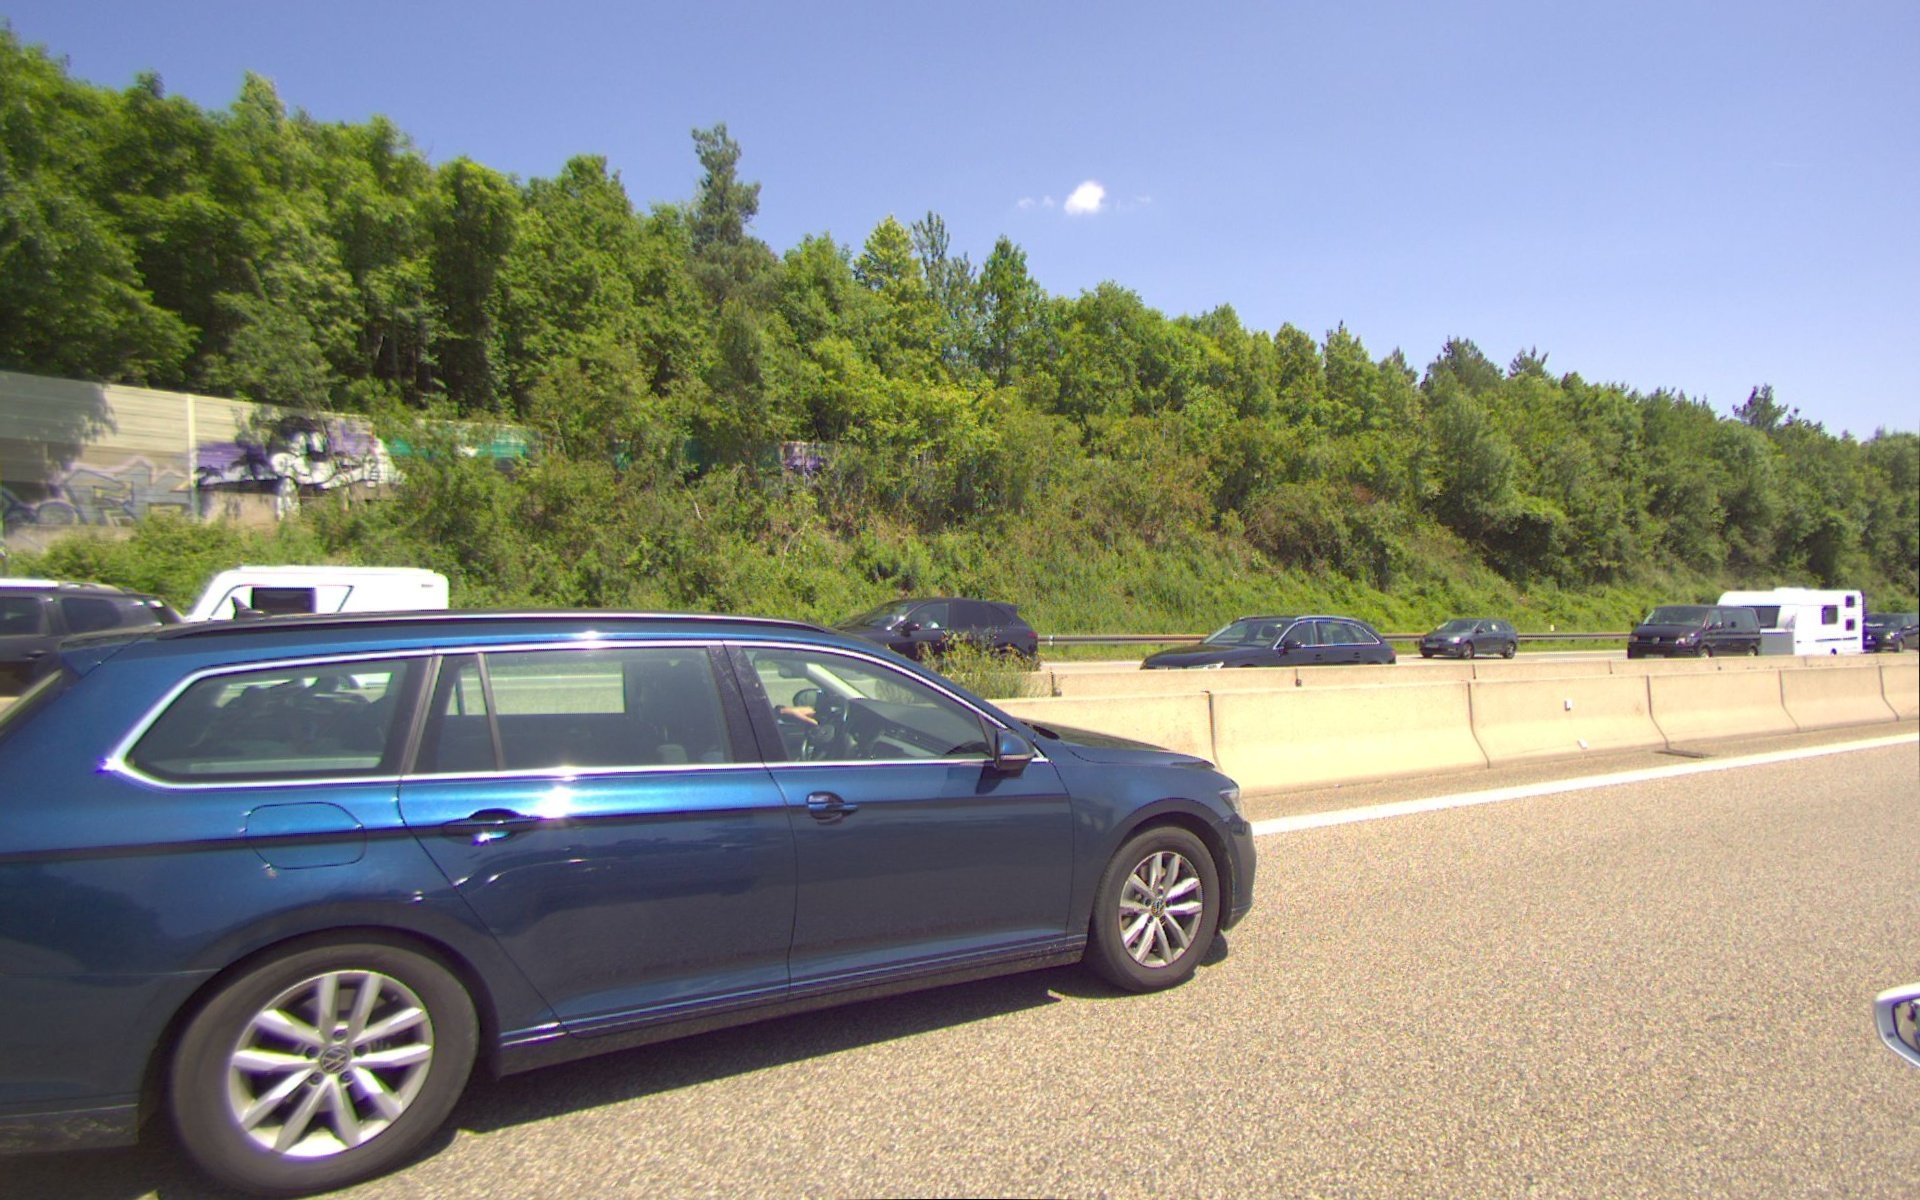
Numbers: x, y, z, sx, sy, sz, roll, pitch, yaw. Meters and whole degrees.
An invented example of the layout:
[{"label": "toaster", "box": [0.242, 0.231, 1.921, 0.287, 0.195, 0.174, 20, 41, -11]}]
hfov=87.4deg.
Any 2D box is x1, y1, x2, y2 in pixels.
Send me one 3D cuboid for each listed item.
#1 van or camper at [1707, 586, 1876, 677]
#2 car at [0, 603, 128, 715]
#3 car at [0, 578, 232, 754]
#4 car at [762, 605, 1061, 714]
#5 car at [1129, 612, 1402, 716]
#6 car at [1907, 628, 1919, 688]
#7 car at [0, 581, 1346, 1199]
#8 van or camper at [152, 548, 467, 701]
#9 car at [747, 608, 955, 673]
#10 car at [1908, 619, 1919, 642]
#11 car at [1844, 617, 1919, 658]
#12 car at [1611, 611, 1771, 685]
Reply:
[{"label": "van or camper", "box": [27.987, 1.032, 33.723, 6.757, 2.798, 2.220, 1, 0, -31]}, {"label": "car", "box": [-13.472, 0.704, 12.383, 4.668, 1.365, 1.792, 1, 0, -31]}, {"label": "car", "box": [-10.082, 0.626, 10.216, 4.147, 1.705, 1.684, 1, 0, -31]}, {"label": "car", "box": [-0.783, 0.962, 17.436, 4.870, 1.661, 1.916, 1, 0, -31]}, {"label": "car", "box": [4.757, 0.926, 15.461, 4.221, 1.394, 1.606, 1, 0, -31]}, {"label": "car", "box": [31.337, 1.818, 30.959, 4.639, 1.825, 1.937, 2, -1, -31]}, {"label": "car", "box": [-0.793, 0.724, 3.852, 4.675, 1.446, 1.724, 1, -1, -31]}, {"label": "van or camper", "box": [-9.480, 0.358, 14.938, 3.663, 2.003, 2.065, 1, -1, -32]}, {"label": "car", "box": [-2.607, 0.977, 24.327, 4.639, 1.454, 1.937, 2, -1, -31]}, {"label": "car", "box": [59.281, 1.868, 60.719, 4.449, 1.388, 1.754, 1, 0, -31]}, {"label": "car", "box": [43.593, 1.762, 47.306, 4.812, 1.834, 1.724, 1, 0, -33]}, {"label": "car", "box": [21.750, 1.411, 29.834, 5.133, 2.040, 1.984, 2, -1, -31]}]
